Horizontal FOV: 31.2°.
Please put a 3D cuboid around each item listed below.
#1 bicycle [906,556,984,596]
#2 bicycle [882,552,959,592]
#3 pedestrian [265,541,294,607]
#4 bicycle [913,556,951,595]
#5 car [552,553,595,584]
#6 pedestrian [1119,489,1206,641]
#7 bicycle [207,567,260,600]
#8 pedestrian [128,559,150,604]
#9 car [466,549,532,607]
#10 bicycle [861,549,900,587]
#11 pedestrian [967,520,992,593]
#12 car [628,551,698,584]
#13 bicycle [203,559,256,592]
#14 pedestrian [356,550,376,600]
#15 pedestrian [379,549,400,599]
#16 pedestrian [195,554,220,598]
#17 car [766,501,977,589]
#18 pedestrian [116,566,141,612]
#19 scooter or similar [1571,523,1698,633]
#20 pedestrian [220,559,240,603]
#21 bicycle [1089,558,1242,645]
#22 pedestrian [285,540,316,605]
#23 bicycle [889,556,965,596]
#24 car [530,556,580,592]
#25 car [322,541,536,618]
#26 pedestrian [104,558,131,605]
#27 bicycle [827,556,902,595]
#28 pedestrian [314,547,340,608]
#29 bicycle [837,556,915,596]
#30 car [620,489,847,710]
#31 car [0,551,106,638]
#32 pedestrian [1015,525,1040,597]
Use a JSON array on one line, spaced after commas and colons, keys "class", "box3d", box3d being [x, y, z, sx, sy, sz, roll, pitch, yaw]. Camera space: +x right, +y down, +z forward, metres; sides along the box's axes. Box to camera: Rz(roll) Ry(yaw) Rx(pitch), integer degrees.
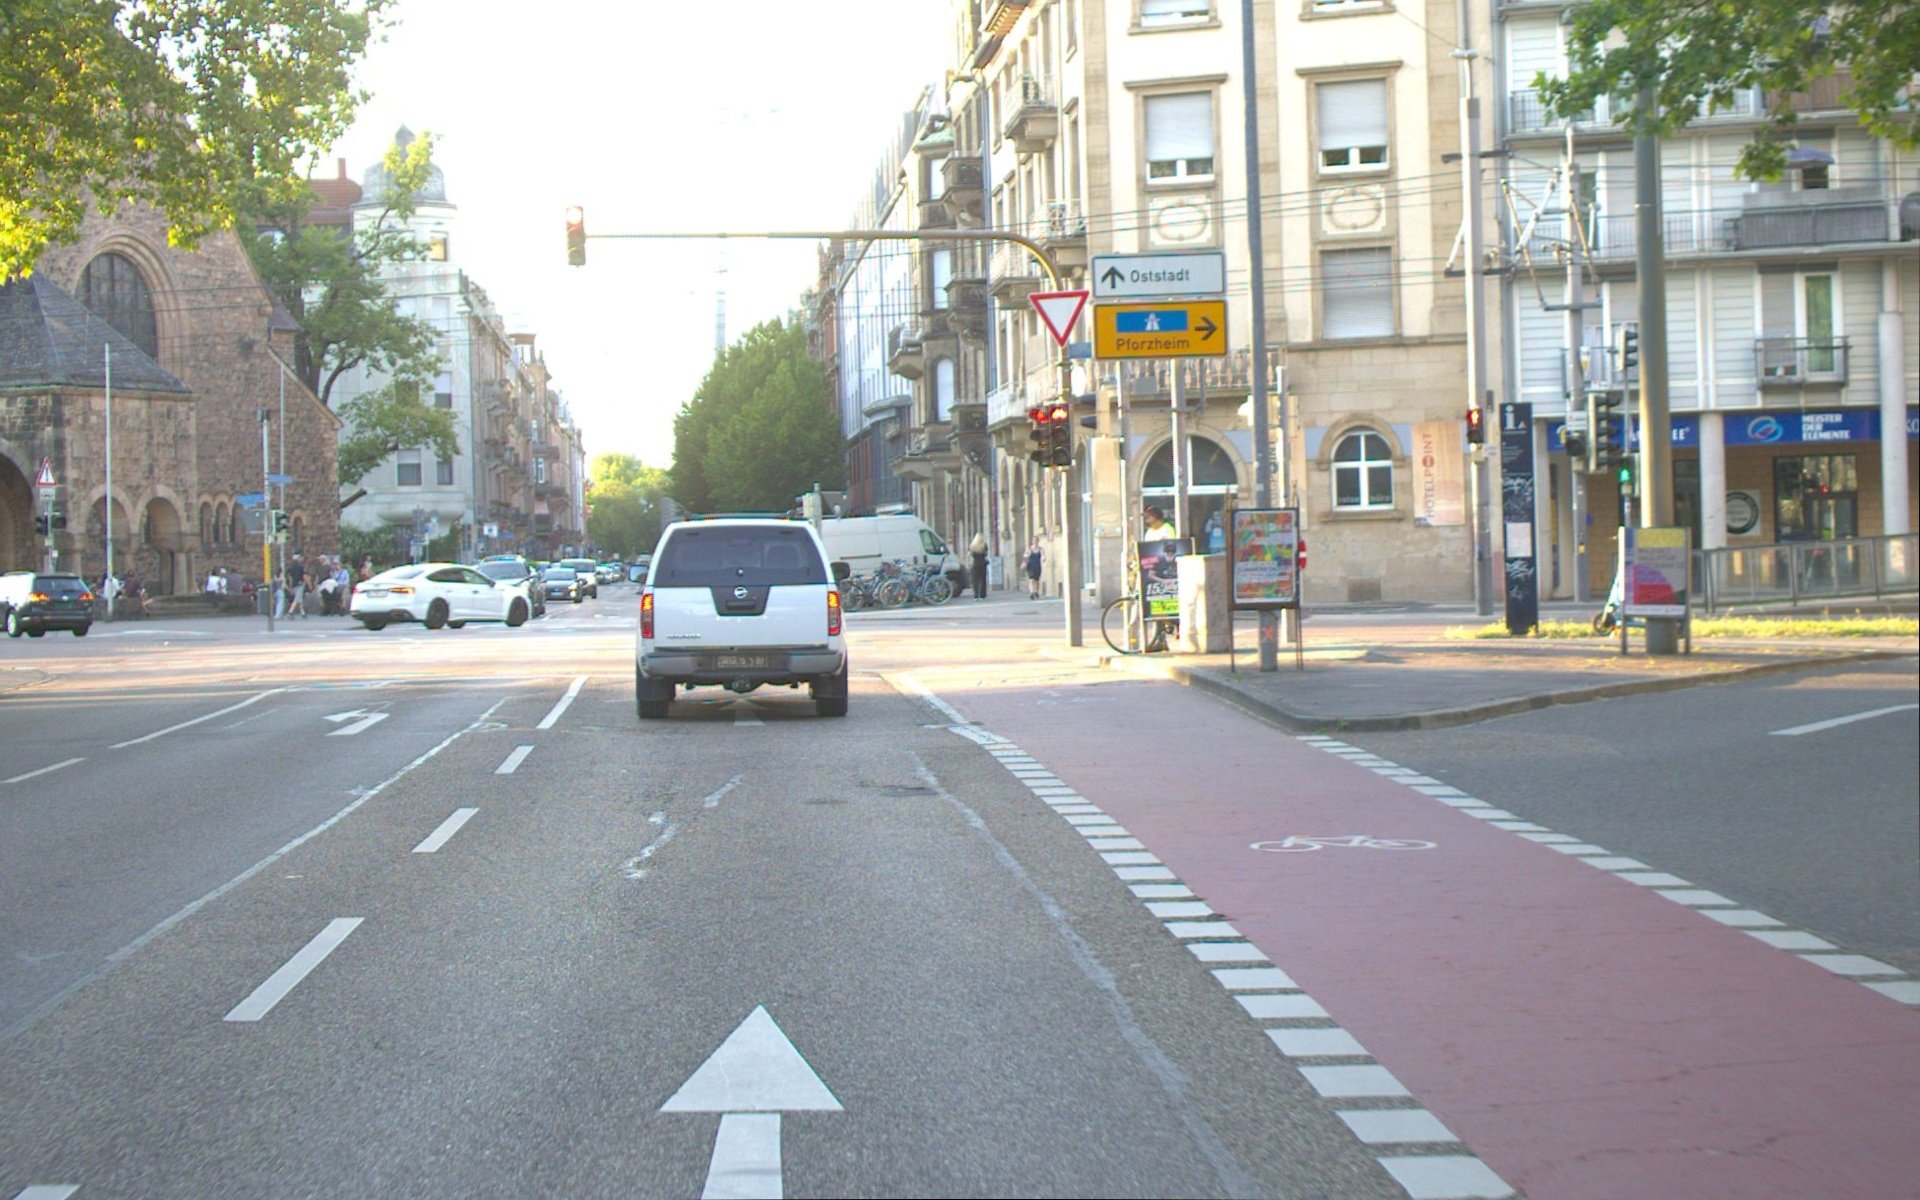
[{"class": "bicycle", "box3d": [-0.384, -0.618, 88.122, 1.916, 0.965, 0.545, -1, 1, 14]}, {"class": "bicycle", "box3d": [-1.008, -0.720, 87.088, 1.914, 0.965, 0.546, -1, 1, -2]}, {"class": "pedestrian", "box3d": [-19.793, -0.754, 99.995, 0.594, 1.880, 0.553, -1, 1, 16]}, {"class": "bicycle", "box3d": [-0.720, -0.640, 89.480, 0.544, 0.965, 1.920, -1, 1, 13]}, {"class": "car", "box3d": [-19.243, -1.585, 171.197, 1.993, 1.501, 3.822, 0, 1, -8]}, {"class": "pedestrian", "box3d": [2.395, -0.414, 40.699, 0.794, 1.762, 0.721, -2, 1, -18]}, {"class": "bicycle", "box3d": [-22.043, -0.492, 104.341, 1.499, 0.965, 0.395, -1, 1, 8]}, {"class": "pedestrian", "box3d": [-23.531, -0.528, 98.556, 0.497, 1.276, 0.492, -2, 1, -24]}, {"class": "car", "box3d": [-13.161, -0.640, 98.017, 1.781, 1.645, 3.822, 0, 1, -8]}, {"class": "bicycle", "box3d": [-2.078, -0.849, 89.857, 0.544, 0.965, 1.920, -1, 1, 13]}, {"class": "pedestrian", "box3d": [0.493, -1.124, 88.722, 0.593, 1.880, 0.647, -1, 1, 2]}, {"class": "car", "box3d": [-17.314, -1.893, 200.574, 3.986, 1.809, 2.000, -1, 1, -6]}, {"class": "bicycle", "box3d": [-22.091, -0.736, 103.963, 1.499, 0.965, 0.395, -1, 1, 8]}, {"class": "pedestrian", "box3d": [-22.439, -0.932, 129.919, 0.551, 1.880, 0.595, -2, 1, -27]}, {"class": "pedestrian", "box3d": [-21.640, -0.976, 130.431, 0.552, 1.880, 0.595, -1, 1, 11]}, {"class": "pedestrian", "box3d": [-22.592, -0.723, 103.211, 0.573, 1.286, 0.486, -1, 1, 11]}, {"class": "car", "box3d": [-2.378, -1.510, 93.552, 5.807, 2.280, 2.071, -2, 2, -43]}, {"class": "pedestrian", "box3d": [-23.641, -0.314, 97.745, 0.498, 1.282, 0.492, -1, 1, 16]}, {"class": "scooter or similar", "box3d": [7.813, -0.259, 39.845, 0.544, 1.246, 1.390, -2, 1, -40]}, {"class": "pedestrian", "box3d": [-21.906, -0.576, 103.172, 0.491, 1.282, 0.499, -1, 1, -4]}, {"class": "bicycle", "box3d": [2.398, 0.016, 40.206, 1.691, 0.965, 0.546, -1, 1, -7]}, {"class": "pedestrian", "box3d": [-19.154, -0.807, 99.798, 0.654, 1.880, 0.585, -1, 1, 15]}, {"class": "bicycle", "box3d": [-0.844, -0.611, 87.333, 1.914, 0.965, 0.546, -1, 1, -2]}, {"class": "car", "box3d": [-17.097, -1.108, 145.105, 1.993, 1.501, 3.822, 0, 1, -8]}, {"class": "car", "box3d": [-11.314, -0.449, 73.528, 1.997, 1.525, 4.636, 0, 1, 31]}, {"class": "pedestrian", "box3d": [-24.189, -0.535, 98.761, 0.573, 1.315, 0.486, -1, 1, 11]}, {"class": "bicycle", "box3d": [-2.462, -0.633, 88.546, 1.914, 0.965, 0.546, -1, 1, -2]}, {"class": "pedestrian", "box3d": [-19.638, -0.697, 106.629, 0.593, 1.880, 0.553, -1, 1, 13]}, {"class": "bicycle", "box3d": [-2.138, -0.621, 87.747, 1.914, 0.965, 0.546, -1, 1, -9]}, {"class": "car", "box3d": [-1.994, -0.034, 31.225, 1.866, 1.808, 4.000, -2, 1, -2]}, {"class": "car", "box3d": [-21.095, -0.152, 77.685, 2.078, 1.835, 4.631, -3, 2, -32]}, {"class": "pedestrian", "box3d": [1.691, -0.974, 85.784, 0.593, 1.762, 0.653, -1, 1, 2]}]
